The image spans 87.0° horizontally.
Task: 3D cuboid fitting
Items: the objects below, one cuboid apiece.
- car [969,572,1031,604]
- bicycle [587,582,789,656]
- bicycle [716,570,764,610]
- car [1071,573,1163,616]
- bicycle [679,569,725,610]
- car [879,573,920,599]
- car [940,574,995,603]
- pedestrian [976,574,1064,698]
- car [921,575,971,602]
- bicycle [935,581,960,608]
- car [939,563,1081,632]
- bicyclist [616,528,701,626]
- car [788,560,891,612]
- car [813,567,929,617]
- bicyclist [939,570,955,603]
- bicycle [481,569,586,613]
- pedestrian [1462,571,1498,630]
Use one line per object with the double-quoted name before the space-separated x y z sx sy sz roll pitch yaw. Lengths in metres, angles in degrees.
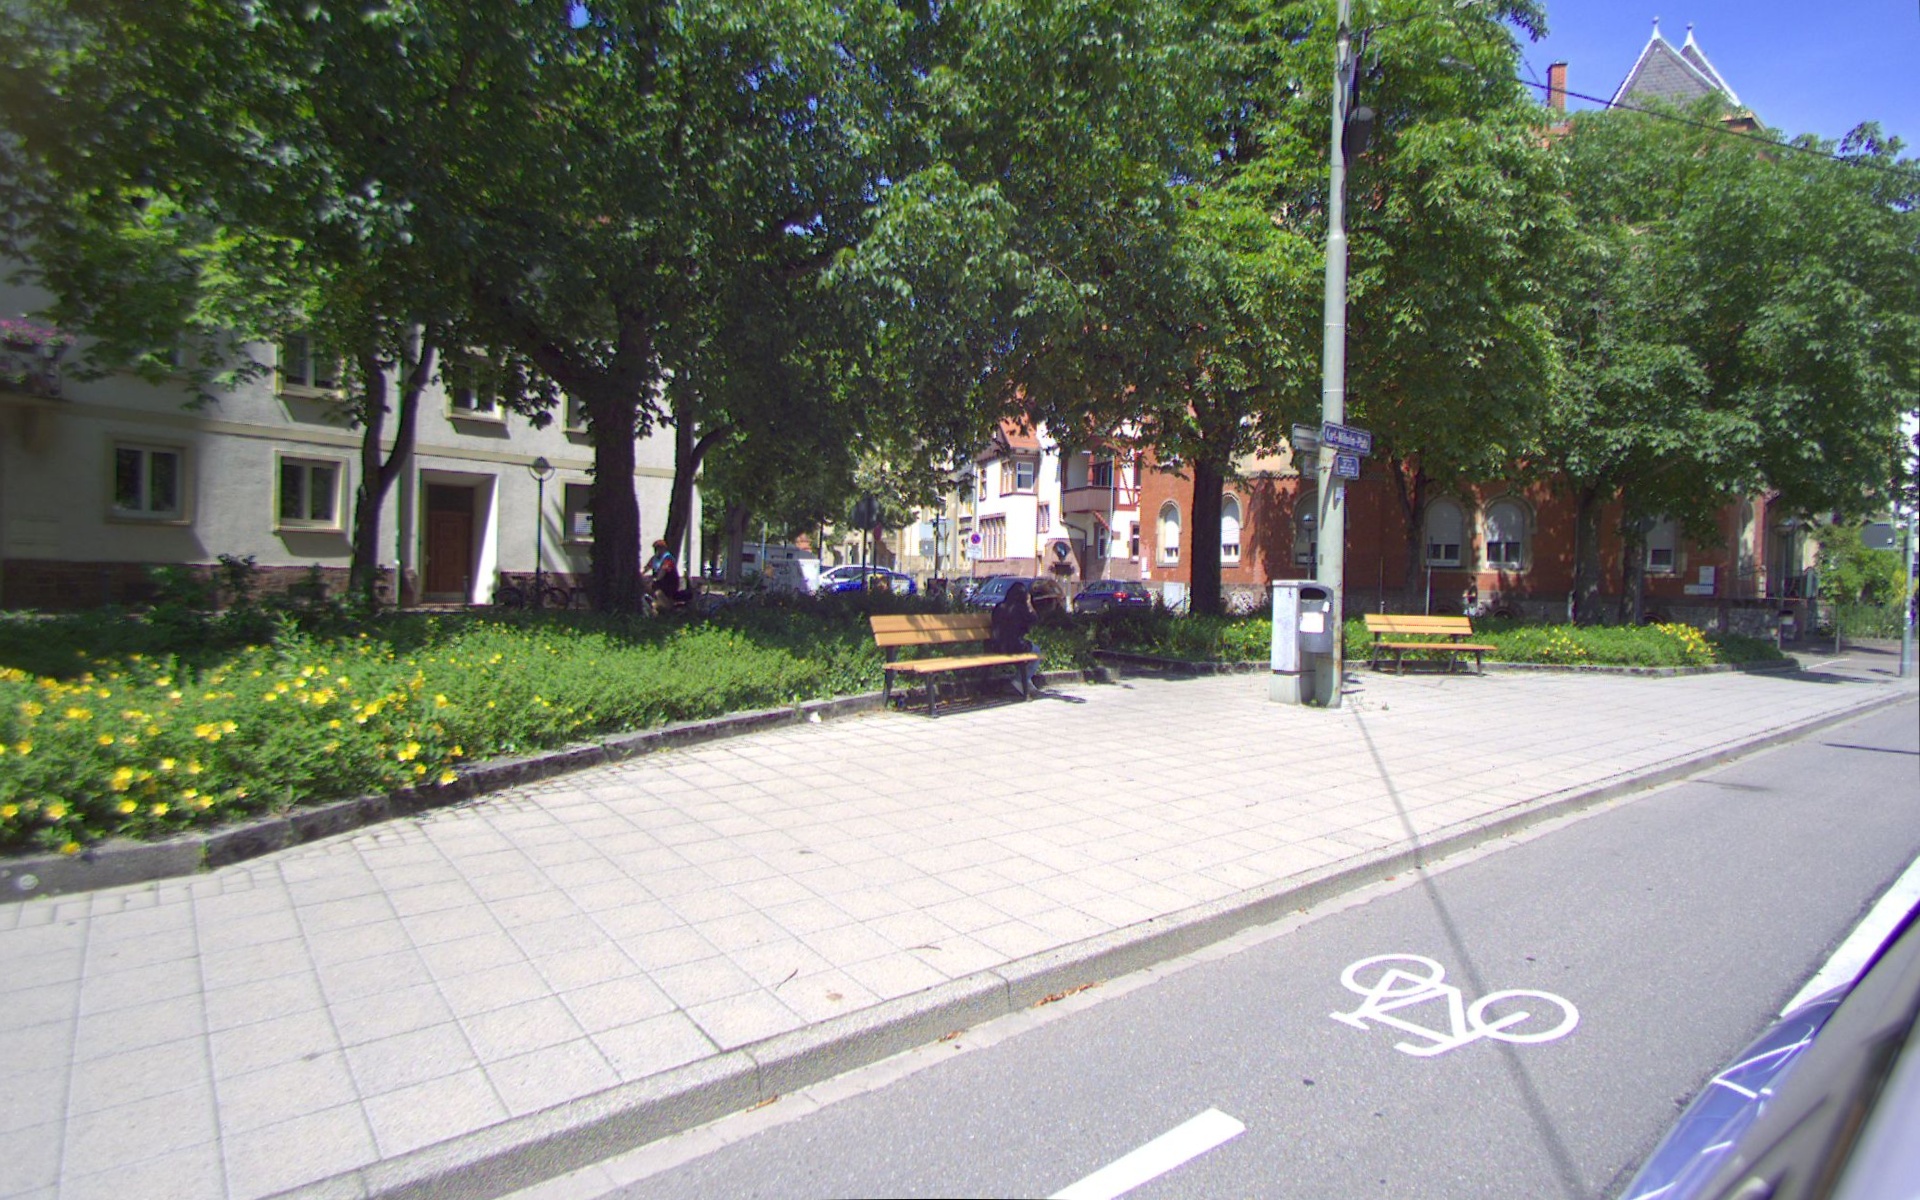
"car" 2.071 -0.624 54.081 1.897 1.638 4.318 0 0 -19
"bicycle" -4.999 0.303 18.967 0.952 1.279 3.685 0 0 44
"bicycle" -5.862 -0.271 26.909 0.736 1.024 2.273 0 0 -26
"car" 6.280 -0.237 41.032 1.897 1.638 4.318 0 0 -19
"bicycle" -6.770 -0.262 26.480 0.736 1.024 2.273 0 0 -26
"car" -4.499 -1.011 74.467 1.897 1.897 4.318 0 0 -19
"car" 0.384 -0.659 58.688 1.897 1.638 4.318 0 0 -19
"pedestrian" 0.605 0.334 10.080 0.562 1.156 0.718 3 2 33
"car" -0.914 -0.696 63.258 1.897 1.638 4.318 0 0 -19
"bicycle" -0.567 -0.232 44.410 0.532 1.172 1.784 0 0 -21
"car" 1.416 -0.078 26.550 1.922 1.638 4.477 0 0 30
"bicyclist" -5.498 -0.408 18.468 1.234 1.717 0.872 0 0 -45
"car" -5.367 -0.632 44.834 4.219 2.219 1.942 0 0 -18
"car" -3.539 -0.326 40.021 4.219 1.903 1.942 0 0 -18
"bicyclist" -0.565 -0.584 44.402 0.532 1.438 0.635 0 0 -21
"bicycle" -10.247 -0.224 24.380 2.230 1.024 0.751 -1 0 -41
"pedestrian" 16.781 0.015 32.689 0.826 1.846 0.671 2 1 12
